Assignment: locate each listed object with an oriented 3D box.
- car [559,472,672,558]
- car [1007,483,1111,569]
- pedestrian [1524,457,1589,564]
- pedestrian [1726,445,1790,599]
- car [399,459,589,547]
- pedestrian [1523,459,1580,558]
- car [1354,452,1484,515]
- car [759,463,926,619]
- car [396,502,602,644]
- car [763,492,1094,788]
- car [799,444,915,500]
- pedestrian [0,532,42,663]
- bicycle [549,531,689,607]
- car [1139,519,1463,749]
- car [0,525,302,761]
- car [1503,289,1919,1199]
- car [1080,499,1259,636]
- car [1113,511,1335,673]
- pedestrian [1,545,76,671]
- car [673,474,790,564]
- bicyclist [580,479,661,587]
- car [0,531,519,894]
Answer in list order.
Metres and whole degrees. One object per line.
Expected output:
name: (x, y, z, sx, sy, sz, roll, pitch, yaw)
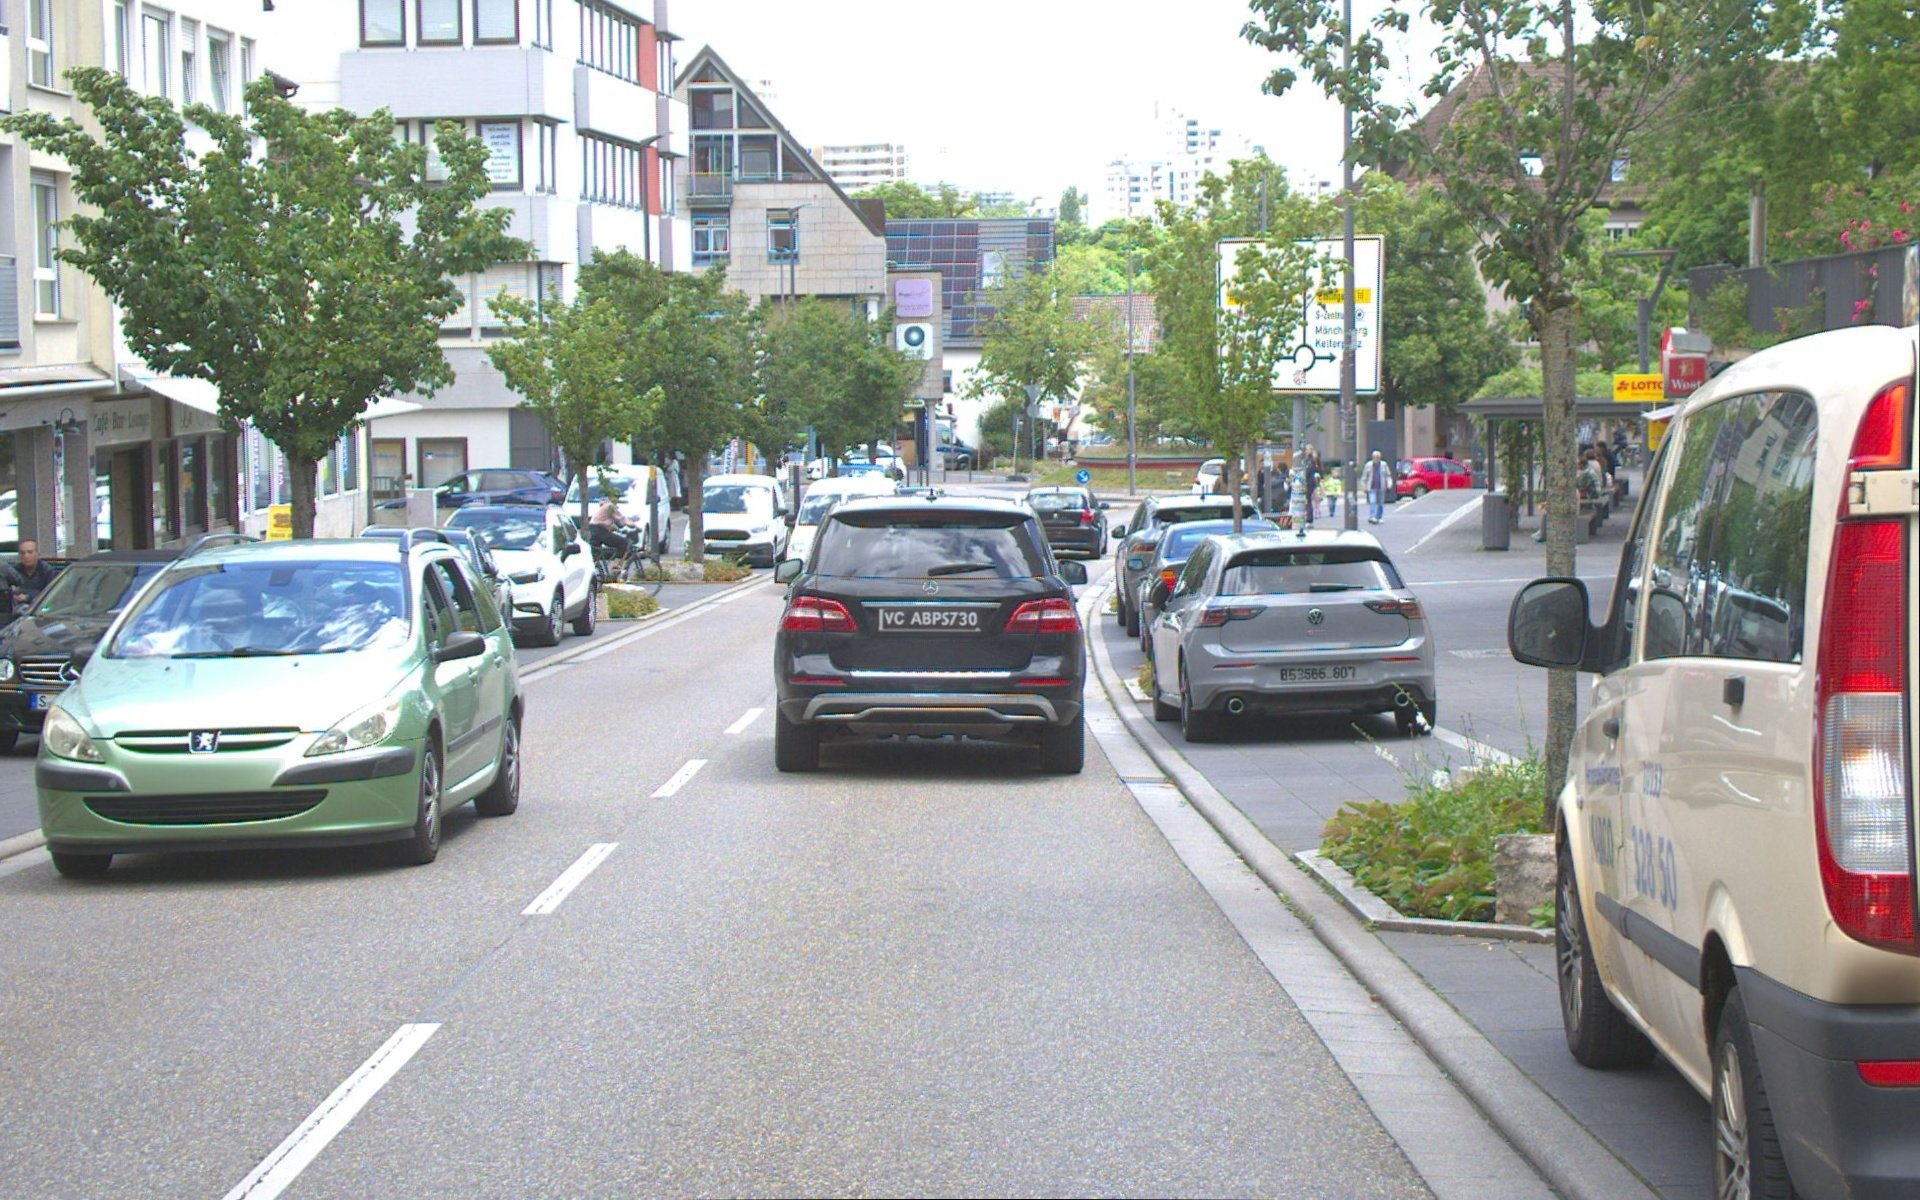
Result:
car: (-6.895, -1.728, 69.107, 1.926, 1.623, 4.415, 2, 2, -2)
car: (1.952, -1.516, 68.937, 1.926, 1.623, 4.262, 2, 2, 0)
pedestrian: (10.981, -1.651, 63.283, 1.050, 1.906, 0.937, -3, 1, 7)
pedestrian: (8.301, -0.811, 35.769, 0.568, 1.581, 0.666, -1, 1, 8)
car: (-10.370, -2.153, 76.734, 3.986, 1.744, 2.000, -3, 1, -4)
pedestrian: (13.165, -2.043, 76.448, 1.012, 2.144, 1.067, -2, 1, 18)
car: (15.239, -3.866, 114.143, 4.185, 2.023, 1.787, -1, 1, -36)
car: (-1.867, -0.982, 56.334, 2.174, 2.356, 4.622, -3, 1, 4)
car: (-5.549, -0.373, 41.854, 1.926, 1.623, 4.262, 0, 2, 0)
car: (-0.183, 0.178, 22.488, 1.943, 1.734, 4.179, 1, 2, 0)
car: (-3.853, -4.777, 128.444, 4.070, 2.007, 2.001, 1, 1, -9)
pedestrian: (-9.492, -0.023, 33.861, 0.686, 1.277, 0.676, -1, 1, -1)
bicycle: (-5.229, -0.479, 52.763, 1.956, 1.054, 0.712, -3, 1, -27)
car: (2.415, 0.175, 25.465, 1.938, 1.452, 4.707, -1, 2, 1)
car: (-6.185, 0.245, 25.304, 1.926, 1.491, 4.263, 2, 2, -1)
car: (2.425, 0.344, 7.585, 1.938, 1.885, 4.706, -3, 2, 4)
car: (2.512, -0.451, 42.248, 1.938, 1.539, 4.707, -1, 2, 1)
car: (2.688, -0.136, 35.951, 1.938, 1.452, 4.707, -3, 2, 1)
pedestrian: (-9.446, 0.073, 35.258, 0.565, 1.277, 0.758, 0, 1, -1)
car: (-4.357, -1.584, 66.126, 1.926, 1.623, 4.262, 2, 2, 0)
bicyclist: (-5.208, -1.023, 52.763, 0.962, 1.604, 0.730, -3, 1, -26)
car: (-3.294, 0.443, 16.722, 1.812, 1.503, 4.000, -1, 1, -1)
